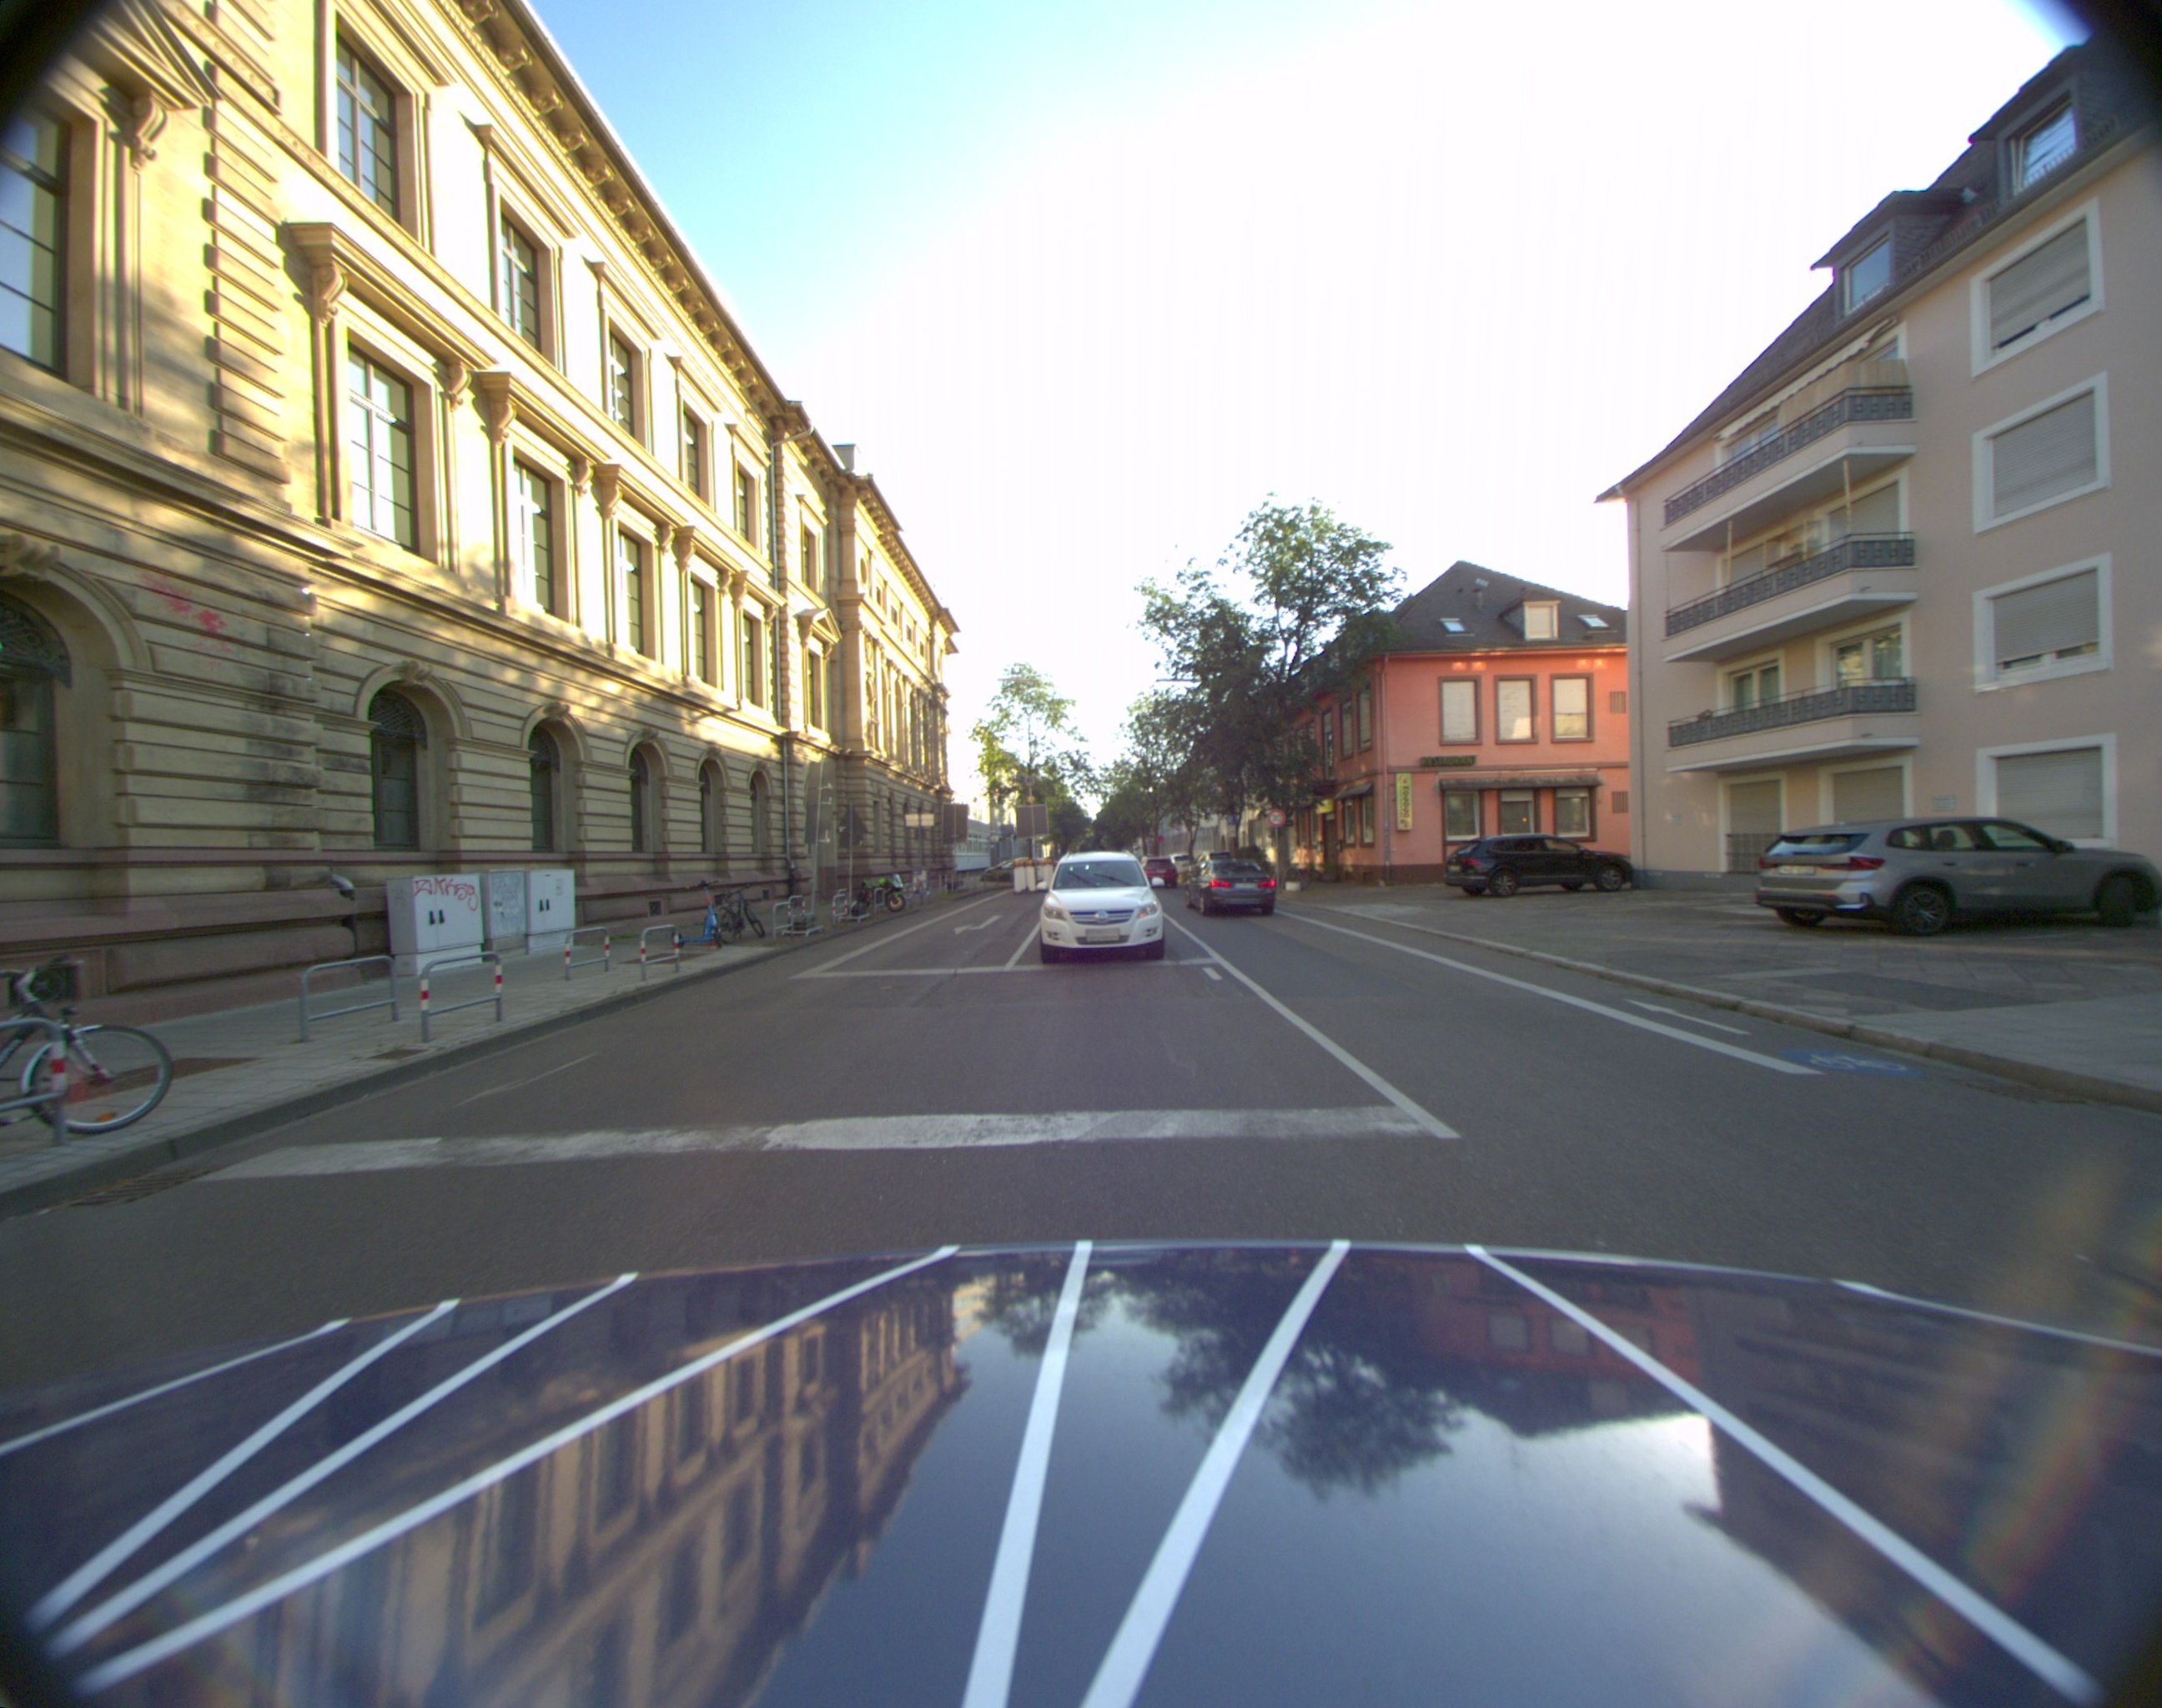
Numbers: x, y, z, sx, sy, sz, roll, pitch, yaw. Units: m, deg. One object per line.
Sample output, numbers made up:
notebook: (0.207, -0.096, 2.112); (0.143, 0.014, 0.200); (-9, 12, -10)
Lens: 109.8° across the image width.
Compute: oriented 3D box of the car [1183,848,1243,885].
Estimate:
car: (7.169, 0.627, 41.906); (1.833, 1.749, 5.046); (-6, 1, -5)

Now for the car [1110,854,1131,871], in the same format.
car: (3.519, 0.789, 68.584); (1.662, 1.463, 3.853); (-1, -1, -1)

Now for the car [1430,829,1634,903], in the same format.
car: (12.281, 0.316, 20.900); (4.429, 1.655, 1.864); (-3, 0, 0)

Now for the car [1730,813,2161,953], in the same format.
car: (12.476, 0.382, 11.032); (4.429, 1.596, 1.916); (-3, 0, 0)

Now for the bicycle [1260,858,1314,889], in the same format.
bicycle: (7.789, 0.733, 28.773); (1.872, 1.098, 0.610); (-2, 1, -6)

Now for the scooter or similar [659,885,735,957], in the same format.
scooter or similar: (-6.840, 1.172, 13.542); (1.131, 1.188, 0.585); (1, 1, 19)

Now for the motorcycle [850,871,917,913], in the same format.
motorcycle: (-6.147, 1.164, 23.613); (2.098, 1.208, 0.711); (1, 1, 30)

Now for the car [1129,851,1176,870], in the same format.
car: (6.751, 0.631, 71.819); (4.230, 1.680, 1.800); (-2, 0, -2)

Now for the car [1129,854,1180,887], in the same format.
car: (3.621, 0.775, 38.139); (1.836, 1.536, 4.846); (-1, 0, -3)

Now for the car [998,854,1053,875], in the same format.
car: (-4.567, 0.874, 63.013); (4.368, 1.633, 2.054); (1, 0, -2)

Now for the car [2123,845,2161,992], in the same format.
car: (12.295, 0.491, 6.536); (4.277, 1.372, 1.735); (-3, 0, 0)

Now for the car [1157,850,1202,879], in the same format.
car: (6.485, 0.674, 50.343); (1.833, 1.658, 4.654); (-6, 1, -5)

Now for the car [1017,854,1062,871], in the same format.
car: (-4.031, 0.862, 73.934); (4.368, 1.615, 1.733); (0, 0, -2)

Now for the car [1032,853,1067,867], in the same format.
car: (-3.982, 0.730, 96.856); (4.368, 1.768, 1.733); (0, 0, -2)

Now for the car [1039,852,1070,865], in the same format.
car: (-3.731, 0.636, 108.496); (4.368, 1.862, 1.733); (-1, 0, -2)

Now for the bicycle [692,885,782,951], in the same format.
bicycle: (-6.721, 1.214, 14.973); (0.829, 1.128, 1.944); (1, 0, 1)

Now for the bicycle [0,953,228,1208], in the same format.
bicycle: (-6.009, 1.281, 4.079); (0.583, 1.182, 1.920); (-2, 2, 1)

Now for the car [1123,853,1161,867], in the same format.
car: (7.210, 0.725, 90.002); (4.230, 1.499, 1.800); (-2, 0, -2)

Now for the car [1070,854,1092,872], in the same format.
car: (-0.052, 0.814, 70.245); (1.951, 1.546, 4.000); (-2, 0, -1)

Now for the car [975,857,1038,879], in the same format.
car: (-5.251, 0.971, 53.926); (4.369, 1.455, 1.833); (1, 1, -3)

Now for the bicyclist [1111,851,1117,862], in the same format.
bicyclist: (4.093, 0.316, 93.799); (0.626, 1.357, 0.929); (-2, 2, 1)

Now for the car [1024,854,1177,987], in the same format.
car: (0.295, 0.873, 12.214); (1.957, 1.667, 4.543); (-2, 0, 1)

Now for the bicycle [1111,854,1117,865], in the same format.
bicycle: (4.110, 0.673, 93.742); (0.626, 1.149, 2.052); (-2, 2, 1)

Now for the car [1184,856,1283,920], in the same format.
car: (3.957, 0.824, 20.400); (1.786, 1.451, 4.423); (-1, 1, 0)
